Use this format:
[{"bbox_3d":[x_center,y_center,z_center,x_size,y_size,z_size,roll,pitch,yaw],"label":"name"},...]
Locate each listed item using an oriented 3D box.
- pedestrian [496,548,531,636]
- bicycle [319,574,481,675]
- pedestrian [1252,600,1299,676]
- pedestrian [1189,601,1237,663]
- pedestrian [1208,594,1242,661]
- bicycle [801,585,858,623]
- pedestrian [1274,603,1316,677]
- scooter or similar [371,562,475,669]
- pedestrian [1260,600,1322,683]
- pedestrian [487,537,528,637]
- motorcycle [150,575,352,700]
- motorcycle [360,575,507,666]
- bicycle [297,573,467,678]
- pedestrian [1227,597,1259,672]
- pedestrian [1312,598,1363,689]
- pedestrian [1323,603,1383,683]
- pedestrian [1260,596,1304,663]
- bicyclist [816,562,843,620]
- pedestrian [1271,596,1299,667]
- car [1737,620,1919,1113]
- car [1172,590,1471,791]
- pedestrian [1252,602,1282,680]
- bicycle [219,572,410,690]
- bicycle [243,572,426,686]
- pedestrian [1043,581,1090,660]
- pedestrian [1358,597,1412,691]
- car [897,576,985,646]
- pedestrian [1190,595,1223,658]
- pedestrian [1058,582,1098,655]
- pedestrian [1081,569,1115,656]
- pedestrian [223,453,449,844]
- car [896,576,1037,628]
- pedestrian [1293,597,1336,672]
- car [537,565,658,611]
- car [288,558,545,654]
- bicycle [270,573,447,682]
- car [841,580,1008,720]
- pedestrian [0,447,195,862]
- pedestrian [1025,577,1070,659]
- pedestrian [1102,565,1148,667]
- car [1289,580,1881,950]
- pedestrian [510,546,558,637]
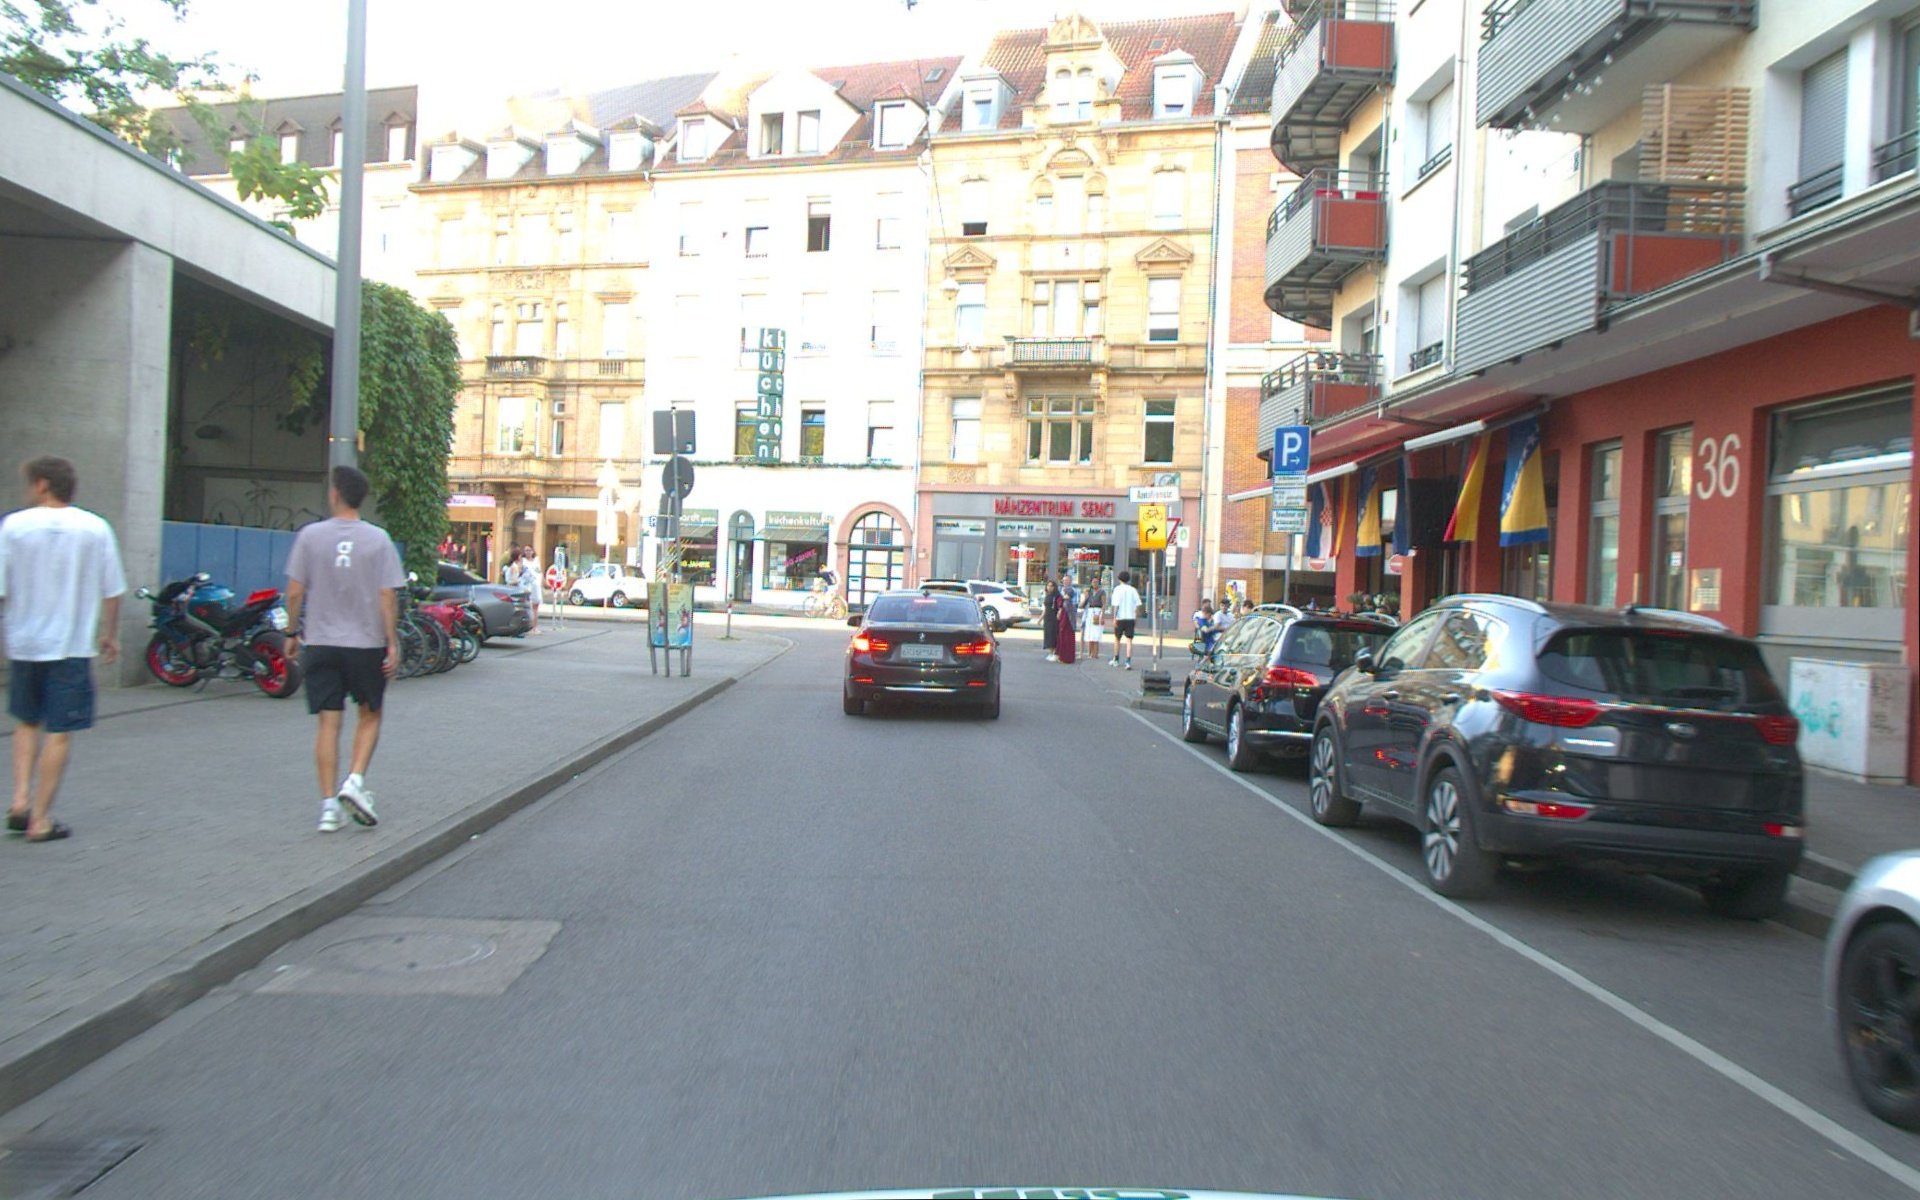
[{"bbox_3d":[-8.553,-0.155,31.670,0.490,1.671,0.521,1,1,0],"label":"pedestrian"},{"bbox_3d":[-6.882,0.291,20.361,1.758,1.127,0.500,3,0,-2],"label":"bicycle"},{"bbox_3d":[5.517,0.650,28.940,0.622,1.298,0.504,-1,1,-39],"label":"pedestrian"},{"bbox_3d":[4.975,0.621,32.557,0.871,1.169,0.619,1,1,5],"label":"pedestrian"},{"bbox_3d":[5.320,0.538,33.231,0.604,1.306,0.660,1,1,7],"label":"pedestrian"},{"bbox_3d":[-4.136,0.135,52.378,1.760,1.127,0.537,3,0,28],"label":"bicycle"},{"bbox_3d":[5.697,0.675,28.133,0.415,1.222,0.560,-2,1,-43],"label":"pedestrian"},{"bbox_3d":[-6.868,0.200,21.196,1.185,1.296,0.420,3,0,-18],"label":"scooter or similar"},{"bbox_3d":[5.210,0.650,26.054,0.841,1.279,0.491,-1,0,-2],"label":"pedestrian"},{"bbox_3d":[-8.827,-0.262,32.281,0.571,1.915,0.634,1,1,4],"label":"pedestrian"},{"bbox_3d":[-6.885,0.345,16.057,1.764,1.082,0.764,3,0,24],"label":"motorcycle"},{"bbox_3d":[-7.018,0.283,22.088,1.731,1.120,0.560,3,0,-36],"label":"motorcycle"},{"bbox_3d":[-6.811,0.301,19.541,1.759,1.127,0.500,3,0,-5],"label":"bicycle"},{"bbox_3d":[5.073,0.611,29.668,0.481,1.326,0.418,-1,0,-2],"label":"pedestrian"},{"bbox_3d":[5.528,0.629,24.243,0.672,1.309,0.609,0,0,8],"label":"pedestrian"},{"bbox_3d":[6.326,0.681,26.633,0.763,1.244,0.714,-1,0,-2],"label":"pedestrian"},{"bbox_3d":[6.415,0.583,32.988,0.606,1.301,0.698,2,1,36],"label":"pedestrian"},{"bbox_3d":[-4.120,-0.286,52.383,0.606,1.787,0.524,2,0,28],"label":"bicyclist"},{"bbox_3d":[6.134,0.591,31.233,0.479,1.299,0.522,1,1,11],"label":"pedestrian"},{"bbox_3d":[3.881,0.916,3.950,1.665,1.477,4.456,4,1,-3],"label":"car"},{"bbox_3d":[3.365,0.752,16.365,1.729,1.528,4.790,4,1,-1],"label":"car"},{"bbox_3d":[5.077,0.675,27.351,0.337,1.279,0.359,-1,0,35],"label":"pedestrian"},{"bbox_3d":[-6.809,0.322,17.493,1.758,1.127,0.500,3,0,-3],"label":"bicycle"},{"bbox_3d":[-6.829,0.314,18.087,1.757,1.127,0.500,3,0,0],"label":"bicycle"},{"bbox_3d":[2.143,0.409,33.321,0.722,1.539,0.648,3,0,-11],"label":"pedestrian"},{"bbox_3d":[6.319,0.640,24.617,0.594,1.371,0.696,0,0,-3],"label":"pedestrian"},{"bbox_3d":[-0.386,0.216,38.718,1.838,1.498,4.001,1,1,2],"label":"car"},{"bbox_3d":[5.131,0.551,34.491,0.604,1.276,0.736,1,1,4],"label":"pedestrian"},{"bbox_3d":[2.497,0.386,35.036,0.798,1.500,0.607,1,1,2],"label":"pedestrian"},{"bbox_3d":[2.887,0.255,34.651,0.653,1.776,0.607,1,1,4],"label":"pedestrian"},{"bbox_3d":[-3.292,0.239,8.823,0.729,1.926,1.050,3,1,-1],"label":"pedestrian"},{"bbox_3d":[0.222,0.072,54.489,4.262,1.589,1.868,1,0,21],"label":"car"},{"bbox_3d":[5.869,0.565,27.382,0.415,1.222,0.529,-2,1,-44],"label":"pedestrian"},{"bbox_3d":[-13.132,-0.434,59.941,3.905,1.537,1.800,1,0,21],"label":"car"},{"bbox_3d":[-9.240,0.094,28.435,3.914,1.527,1.887,1,1,-10],"label":"car"},{"bbox_3d":[-6.830,0.309,18.836,1.760,1.127,0.499,3,0,-7],"label":"bicycle"},{"bbox_3d":[-0.427,0.507,20.093,1.729,1.398,4.790,3,1,-1],"label":"car"},{"bbox_3d":[-4.328,0.231,7.962,0.726,1.844,1.008,4,0,-2],"label":"pedestrian"},{"bbox_3d":[1.797,0.366,33.944,0.711,1.636,0.648,3,0,-11],"label":"pedestrian"},{"bbox_3d":[3.140,0.295,31.535,0.663,1.910,0.700,2,0,-6],"label":"pedestrian"},{"bbox_3d":[3.536,0.780,10.478,1.730,1.670,4.789,4,1,-2],"label":"car"},{"bbox_3d":[-8.503,-0.171,33.019,0.661,1.776,0.654,2,1,38],"label":"pedestrian"}]
